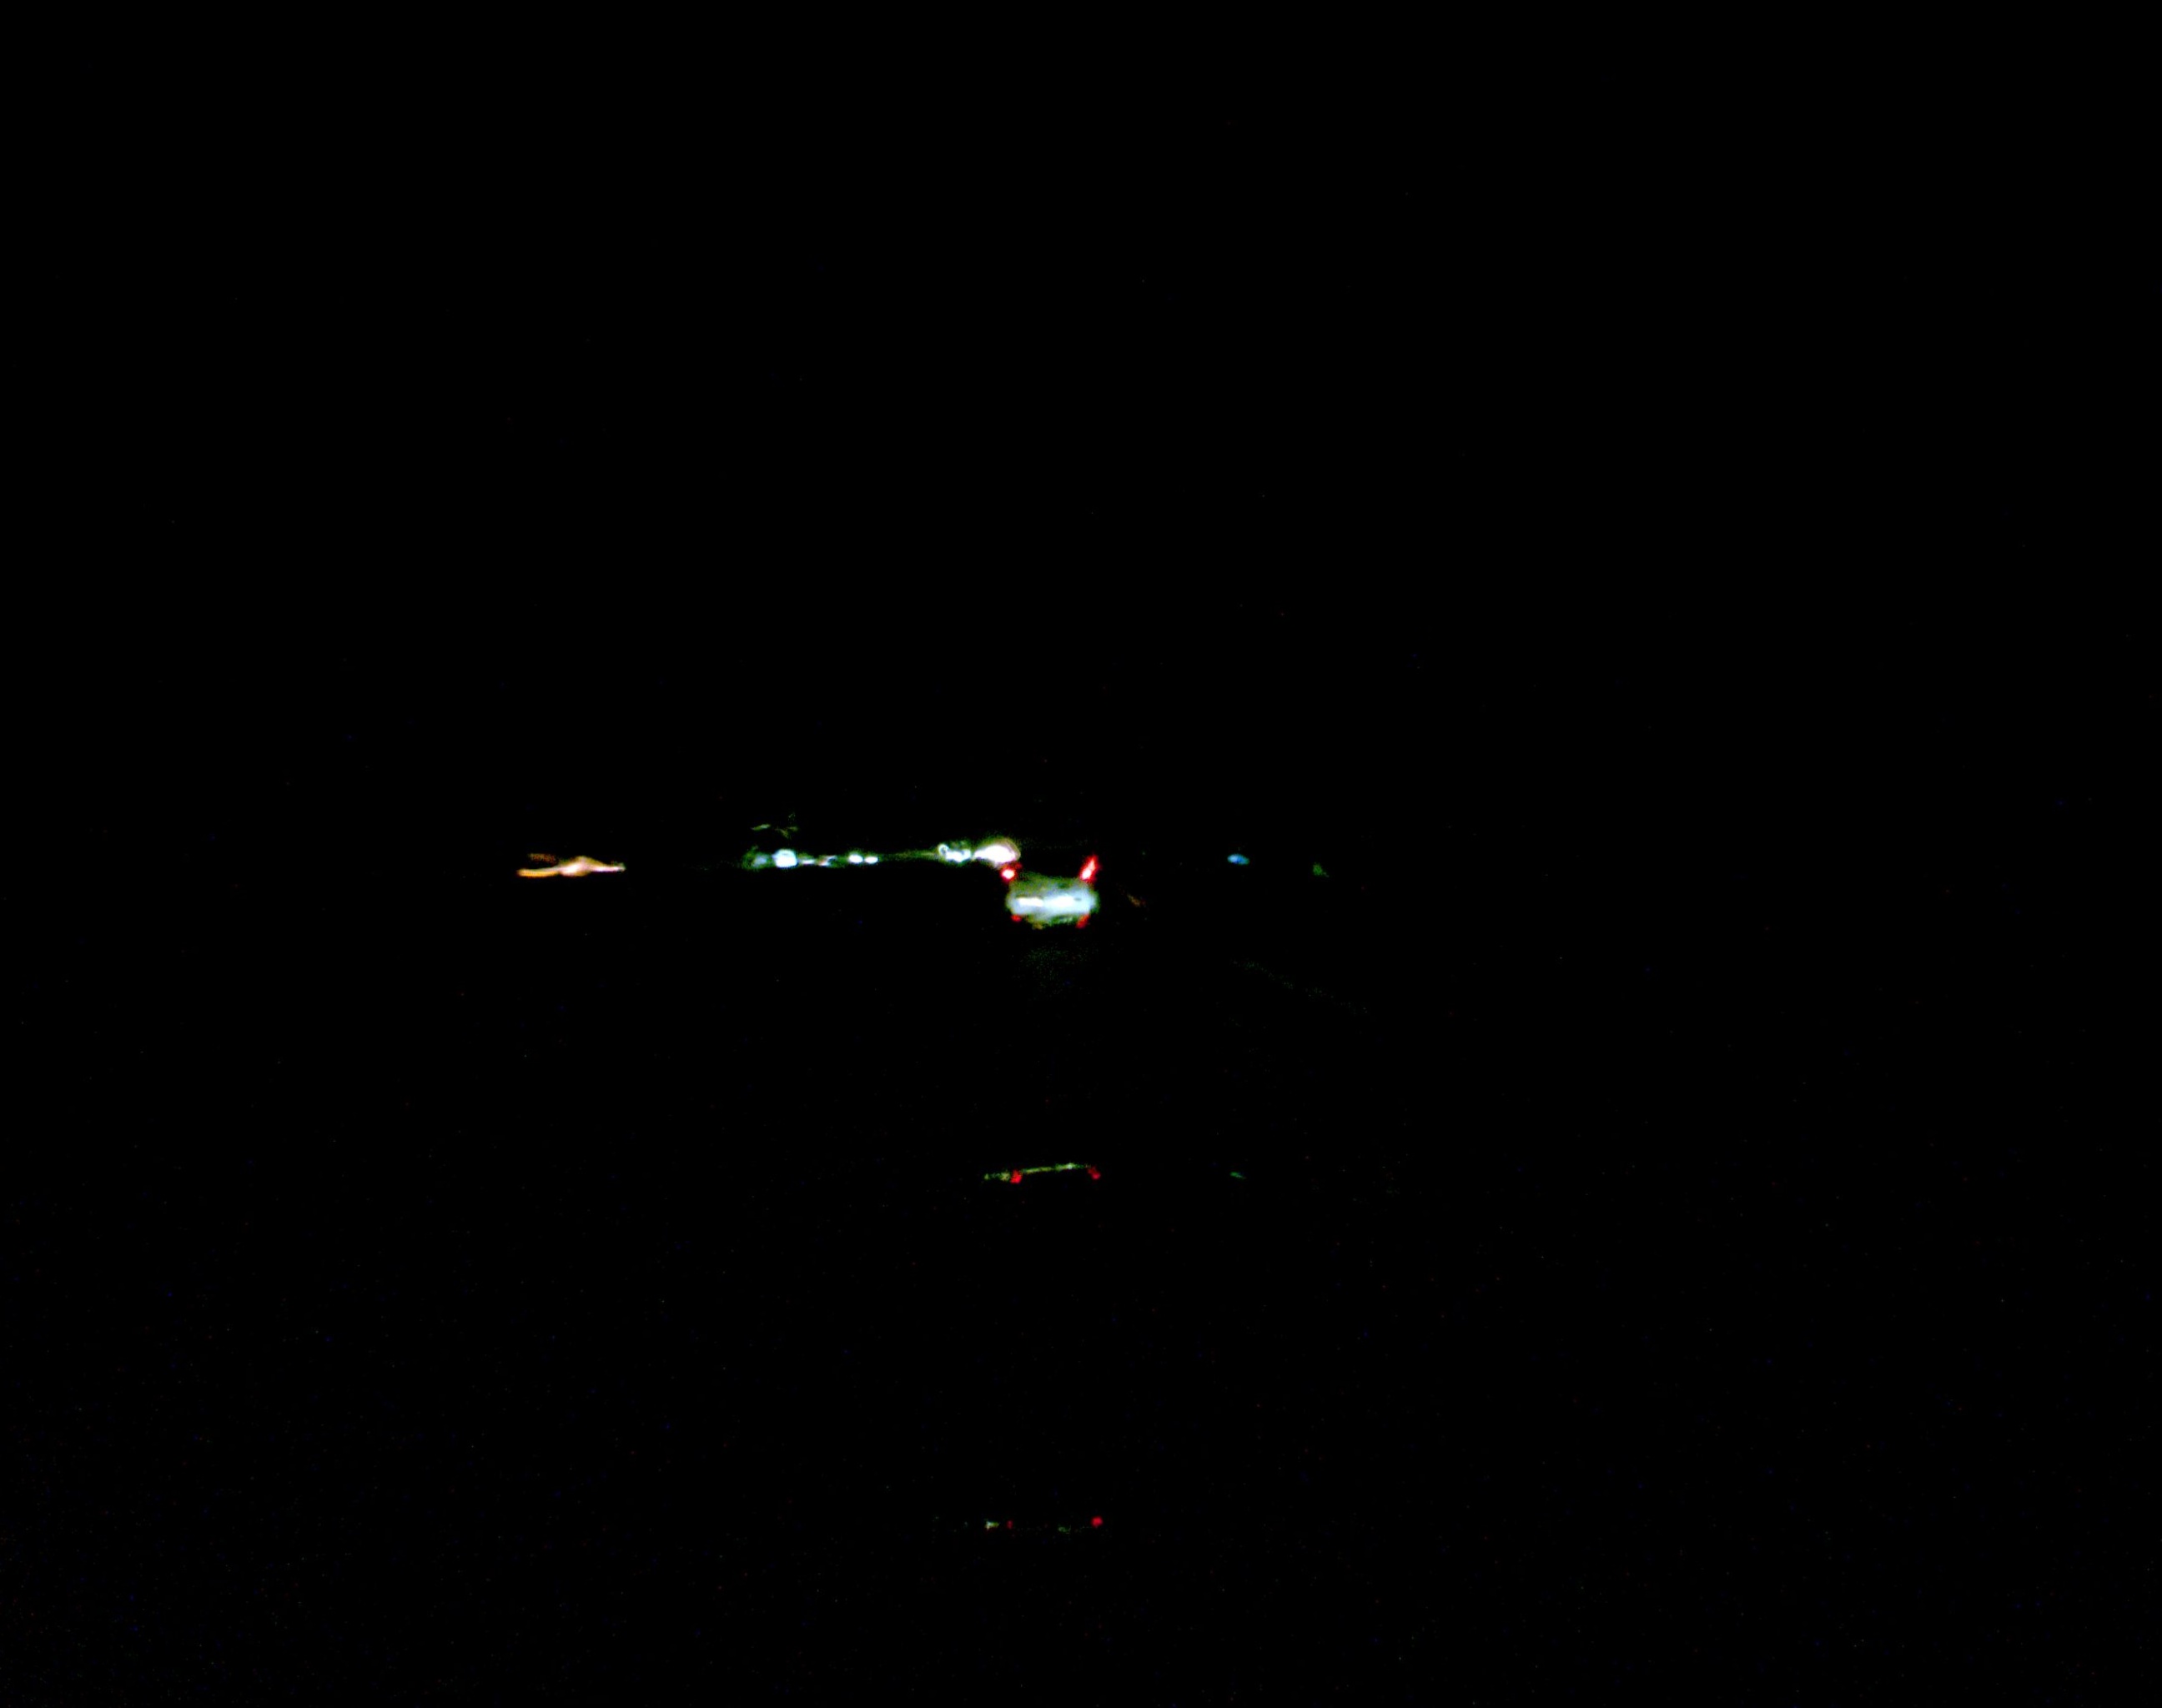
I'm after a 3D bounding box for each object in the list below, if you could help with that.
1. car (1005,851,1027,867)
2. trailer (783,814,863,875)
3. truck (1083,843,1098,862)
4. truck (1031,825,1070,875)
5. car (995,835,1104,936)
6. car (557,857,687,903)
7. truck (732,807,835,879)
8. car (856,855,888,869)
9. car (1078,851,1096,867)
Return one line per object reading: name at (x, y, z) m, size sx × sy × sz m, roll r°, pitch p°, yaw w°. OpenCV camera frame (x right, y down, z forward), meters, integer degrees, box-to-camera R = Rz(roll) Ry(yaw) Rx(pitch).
car at (-7.440, 0.554, 93.237) m, size 1.986 × 1.706 × 4.197 m, roll 4°, pitch 0°, yaw 1°
trailer at (-24.071, -0.870, 76.666) m, size 4.326 × 5.141 × 8.995 m, roll 4°, pitch 0°, yaw 0°
truck at (2.479, -0.459, 218.308) m, size 3.812 × 4.915 × 11.604 m, roll 1°, pitch 0°, yaw 0°
truck at (-3.477, -0.370, 97.491) m, size 4.154 × 5.544 × 13.072 m, roll 1°, pitch 0°, yaw 0°
car at (-0.551, 0.584, 17.201) m, size 1.946 × 1.792 × 5.123 m, roll 1°, pitch 0°, yaw 0°
car at (-16.593, 0.883, 29.809) m, size 1.700 × 1.480 × 5.019 m, roll 2°, pitch 0°, yaw 2°
truck at (-24.078, -0.858, 66.836) m, size 4.326 × 5.141 × 10.469 m, roll 4°, pitch 0°, yaw -1°
car at (-19.010, 0.727, 74.240) m, size 1.701 × 1.221 × 4.272 m, roll 2°, pitch 0°, yaw 0°
car at (0.669, 0.563, 92.301) m, size 1.987 × 1.707 × 4.194 m, roll 1°, pitch 0°, yaw 0°
